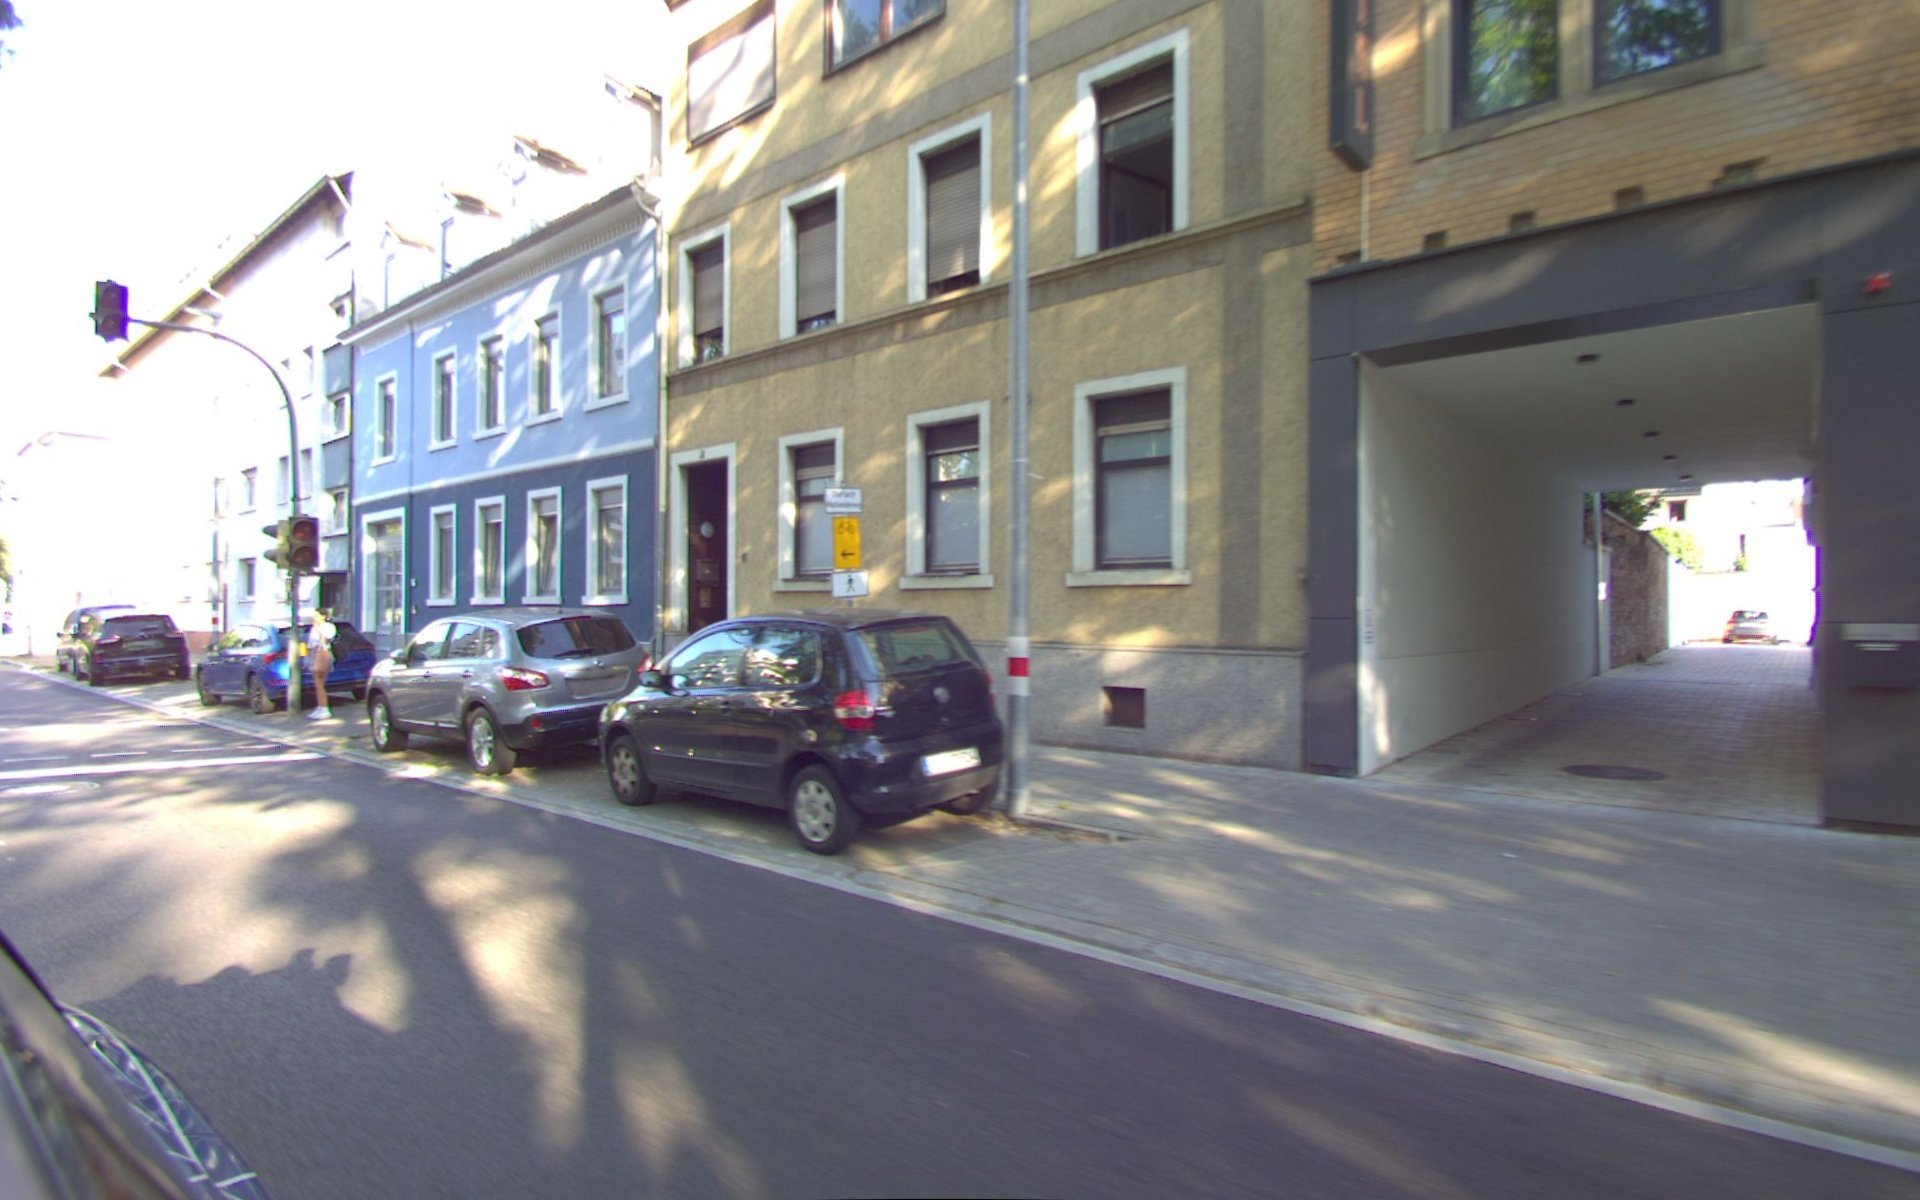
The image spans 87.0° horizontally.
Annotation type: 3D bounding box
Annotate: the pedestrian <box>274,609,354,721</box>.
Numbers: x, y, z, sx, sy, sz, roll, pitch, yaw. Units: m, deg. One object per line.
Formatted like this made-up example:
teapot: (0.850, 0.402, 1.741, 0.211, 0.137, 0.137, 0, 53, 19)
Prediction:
pedestrian: (-9.491, 0.932, 14.878, 0.853, 1.582, 0.706, 2, -2, -43)

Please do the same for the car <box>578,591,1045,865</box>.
car: (-1.313, 0.776, 7.899, 3.705, 1.617, 1.659, -1, 0, 43)

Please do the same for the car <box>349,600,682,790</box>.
car: (-5.010, 0.877, 11.146, 4.154, 1.685, 1.763, -1, 0, 41)

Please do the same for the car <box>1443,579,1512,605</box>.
car: (37.416, -0.536, 73.231, 4.173, 1.747, 1.858, -1, -2, 37)

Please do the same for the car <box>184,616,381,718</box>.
car: (-11.668, 1.050, 17.327, 4.258, 1.498, 1.634, -1, 0, 39)

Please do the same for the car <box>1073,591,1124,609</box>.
car: (12.158, 0.032, 88.808, 4.118, 1.480, 1.841, -1, -2, 38)

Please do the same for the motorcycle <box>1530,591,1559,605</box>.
motorcycle: (54.159, -0.193, 93.780, 2.262, 1.251, 0.541, 0, -3, 40)

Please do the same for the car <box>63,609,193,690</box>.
car: (-19.706, 1.092, 23.896, 4.494, 1.685, 1.885, -1, 0, 44)

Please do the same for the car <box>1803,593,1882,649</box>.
car: (33.596, 0.809, 38.617, 1.997, 1.985, 3.949, -1, -2, 38)

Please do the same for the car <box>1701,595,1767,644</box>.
car: (30.972, 0.799, 40.518, 1.997, 1.863, 3.949, -1, -2, 38)

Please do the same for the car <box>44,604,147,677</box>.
car: (-23.738, 1.063, 27.729, 4.004, 1.832, 1.647, -1, 0, 42)
